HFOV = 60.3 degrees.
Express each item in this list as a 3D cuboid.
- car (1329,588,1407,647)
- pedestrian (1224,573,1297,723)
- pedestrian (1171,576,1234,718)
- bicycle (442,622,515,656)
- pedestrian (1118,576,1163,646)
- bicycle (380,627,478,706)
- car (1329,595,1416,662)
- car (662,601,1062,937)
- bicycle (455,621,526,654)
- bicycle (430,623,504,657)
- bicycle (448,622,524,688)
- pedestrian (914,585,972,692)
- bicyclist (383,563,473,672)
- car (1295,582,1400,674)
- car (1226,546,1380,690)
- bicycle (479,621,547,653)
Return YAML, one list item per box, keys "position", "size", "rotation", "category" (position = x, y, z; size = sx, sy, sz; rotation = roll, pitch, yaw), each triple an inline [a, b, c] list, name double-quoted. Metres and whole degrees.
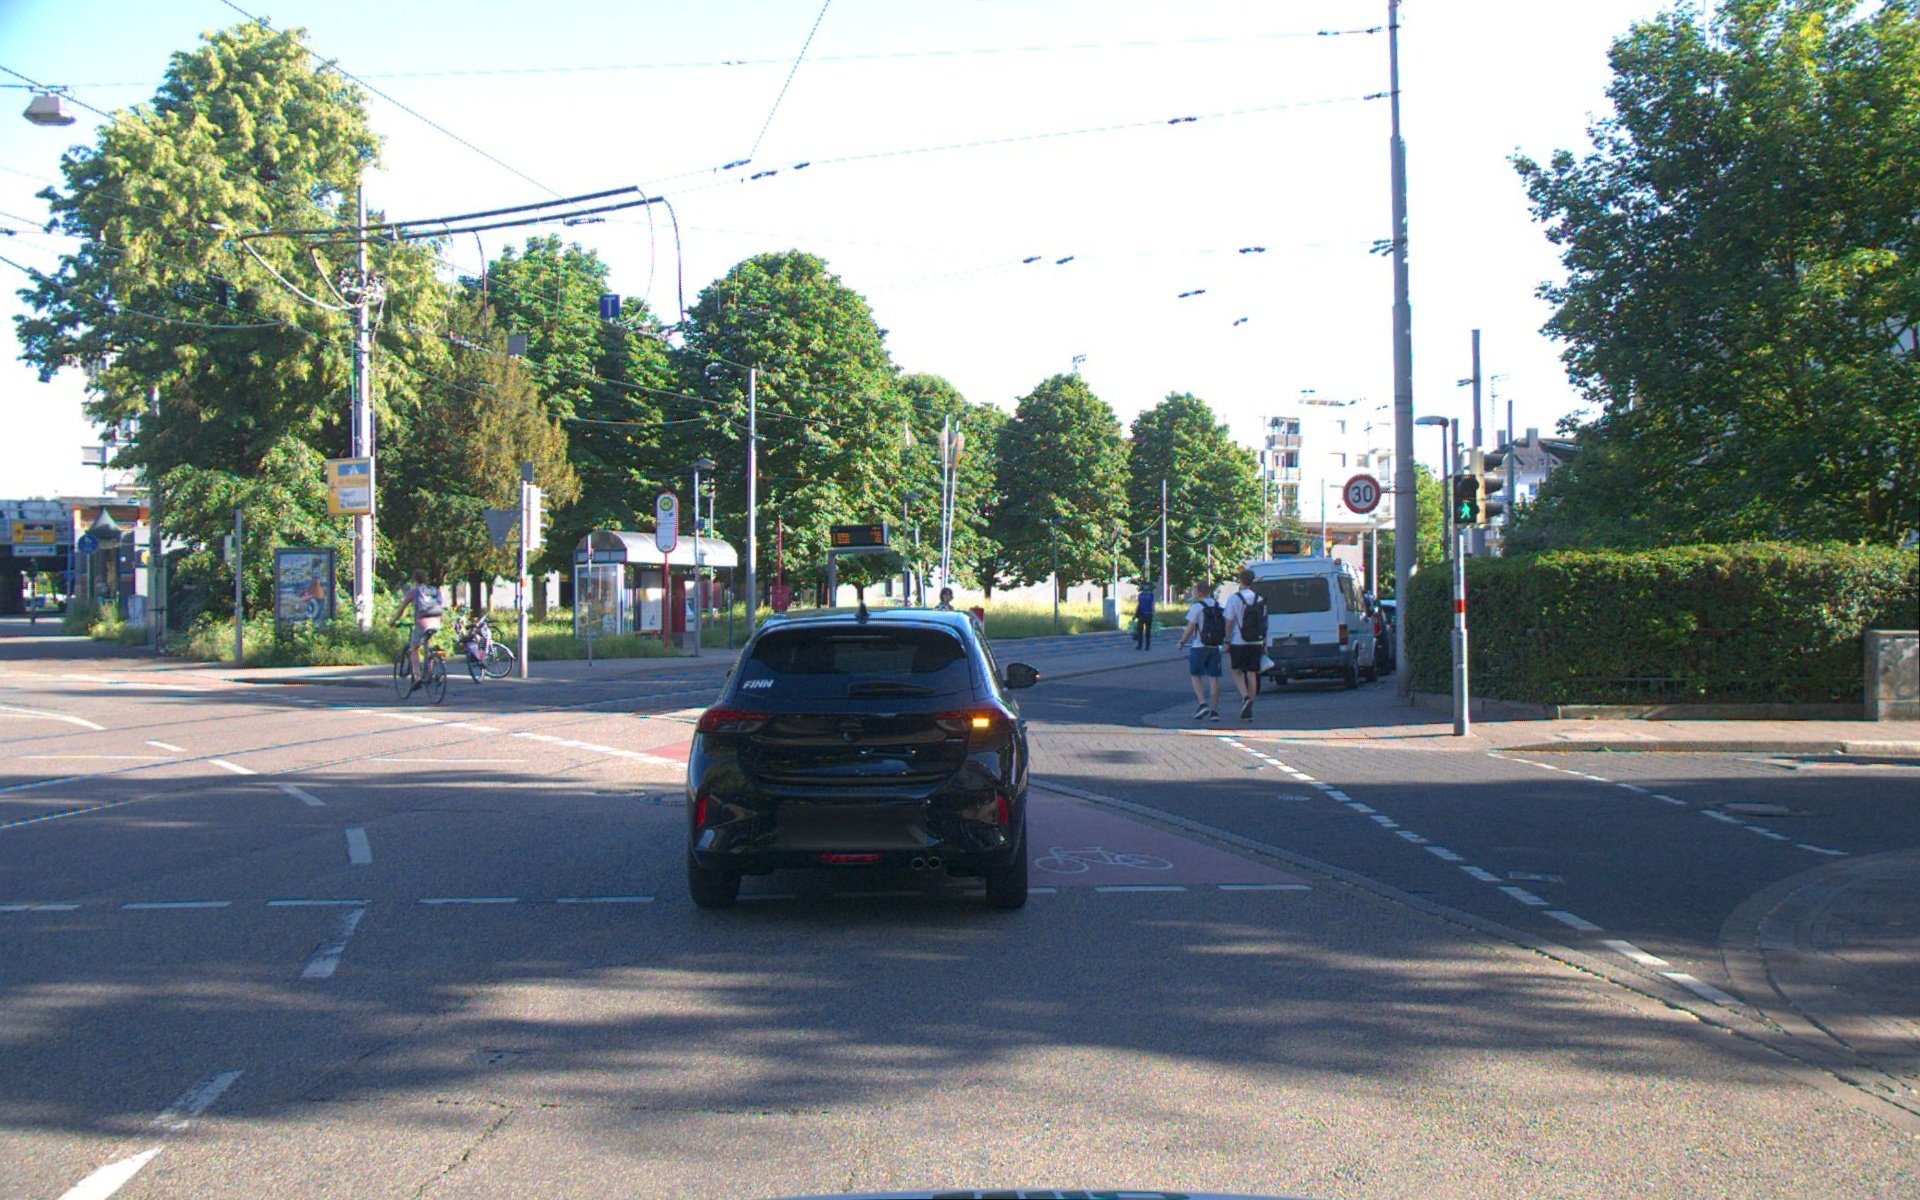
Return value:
- position: [10.962, 0.449, 44.255]
  size: [1.762, 1.502, 3.942]
  rotation: [0, 0, 18]
  category: "car"
- position: [3.862, 0.605, 21.243]
  size: [0.691, 1.879, 0.698]
  rotation: [-1, 0, 36]
  category: "pedestrian"
- position: [3.162, 0.604, 21.621]
  size: [0.685, 1.823, 0.617]
  rotation: [0, 0, -4]
  category: "pedestrian"
- position: [-13.538, 1.086, 46.508]
  size: [1.837, 0.922, 0.660]
  rotation: [0, 0, 3]
  category: "bicycle"
- position: [4.784, 0.294, 43.761]
  size: [0.938, 1.824, 0.995]
  rotation: [0, 0, 22]
  category: "pedestrian"
- position: [-7.792, 0.952, 24.225]
  size: [0.663, 1.078, 2.052]
  rotation: [0, 0, -40]
  category: "bicycle"
- position: [9.897, 0.649, 39.495]
  size: [1.762, 1.502, 3.942]
  rotation: [0, 0, 18]
  category: "car"
- position: [-0.451, 0.751, 9.308]
  size: [1.764, 1.466, 3.939]
  rotation: [0, 0, -1]
  category: "car"
- position: [-13.452, 1.075, 47.387]
  size: [1.837, 0.922, 0.660]
  rotation: [0, 0, 3]
  category: "bicycle"
- position: [-13.563, 1.104, 45.519]
  size: [1.837, 0.922, 0.660]
  rotation: [0, 0, 3]
  category: "bicycle"
- position: [-8.196, 0.936, 28.675]
  size: [0.808, 1.078, 1.882]
  rotation: [0, 0, -2]
  category: "bicycle"
- position: [-0.280, 0.614, 27.097]
  size: [0.691, 1.722, 0.720]
  rotation: [0, 0, -31]
  category: "pedestrian"
- position: [-7.786, 0.246, 24.181]
  size: [0.835, 1.536, 1.349]
  rotation: [0, 0, -39]
  category: "bicyclist"
- position: [8.091, 0.546, 34.320]
  size: [1.763, 1.794, 3.892]
  rotation: [0, 0, 19]
  category: "car"
- position: [6.109, 0.321, 29.088]
  size: [2.046, 2.317, 4.306]
  rotation: [0, -1, 20]
  category: "car"
- position: [-13.298, 1.097, 49.258]
  size: [1.837, 0.922, 0.660]
  rotation: [0, 0, 3]
  category: "bicycle"
